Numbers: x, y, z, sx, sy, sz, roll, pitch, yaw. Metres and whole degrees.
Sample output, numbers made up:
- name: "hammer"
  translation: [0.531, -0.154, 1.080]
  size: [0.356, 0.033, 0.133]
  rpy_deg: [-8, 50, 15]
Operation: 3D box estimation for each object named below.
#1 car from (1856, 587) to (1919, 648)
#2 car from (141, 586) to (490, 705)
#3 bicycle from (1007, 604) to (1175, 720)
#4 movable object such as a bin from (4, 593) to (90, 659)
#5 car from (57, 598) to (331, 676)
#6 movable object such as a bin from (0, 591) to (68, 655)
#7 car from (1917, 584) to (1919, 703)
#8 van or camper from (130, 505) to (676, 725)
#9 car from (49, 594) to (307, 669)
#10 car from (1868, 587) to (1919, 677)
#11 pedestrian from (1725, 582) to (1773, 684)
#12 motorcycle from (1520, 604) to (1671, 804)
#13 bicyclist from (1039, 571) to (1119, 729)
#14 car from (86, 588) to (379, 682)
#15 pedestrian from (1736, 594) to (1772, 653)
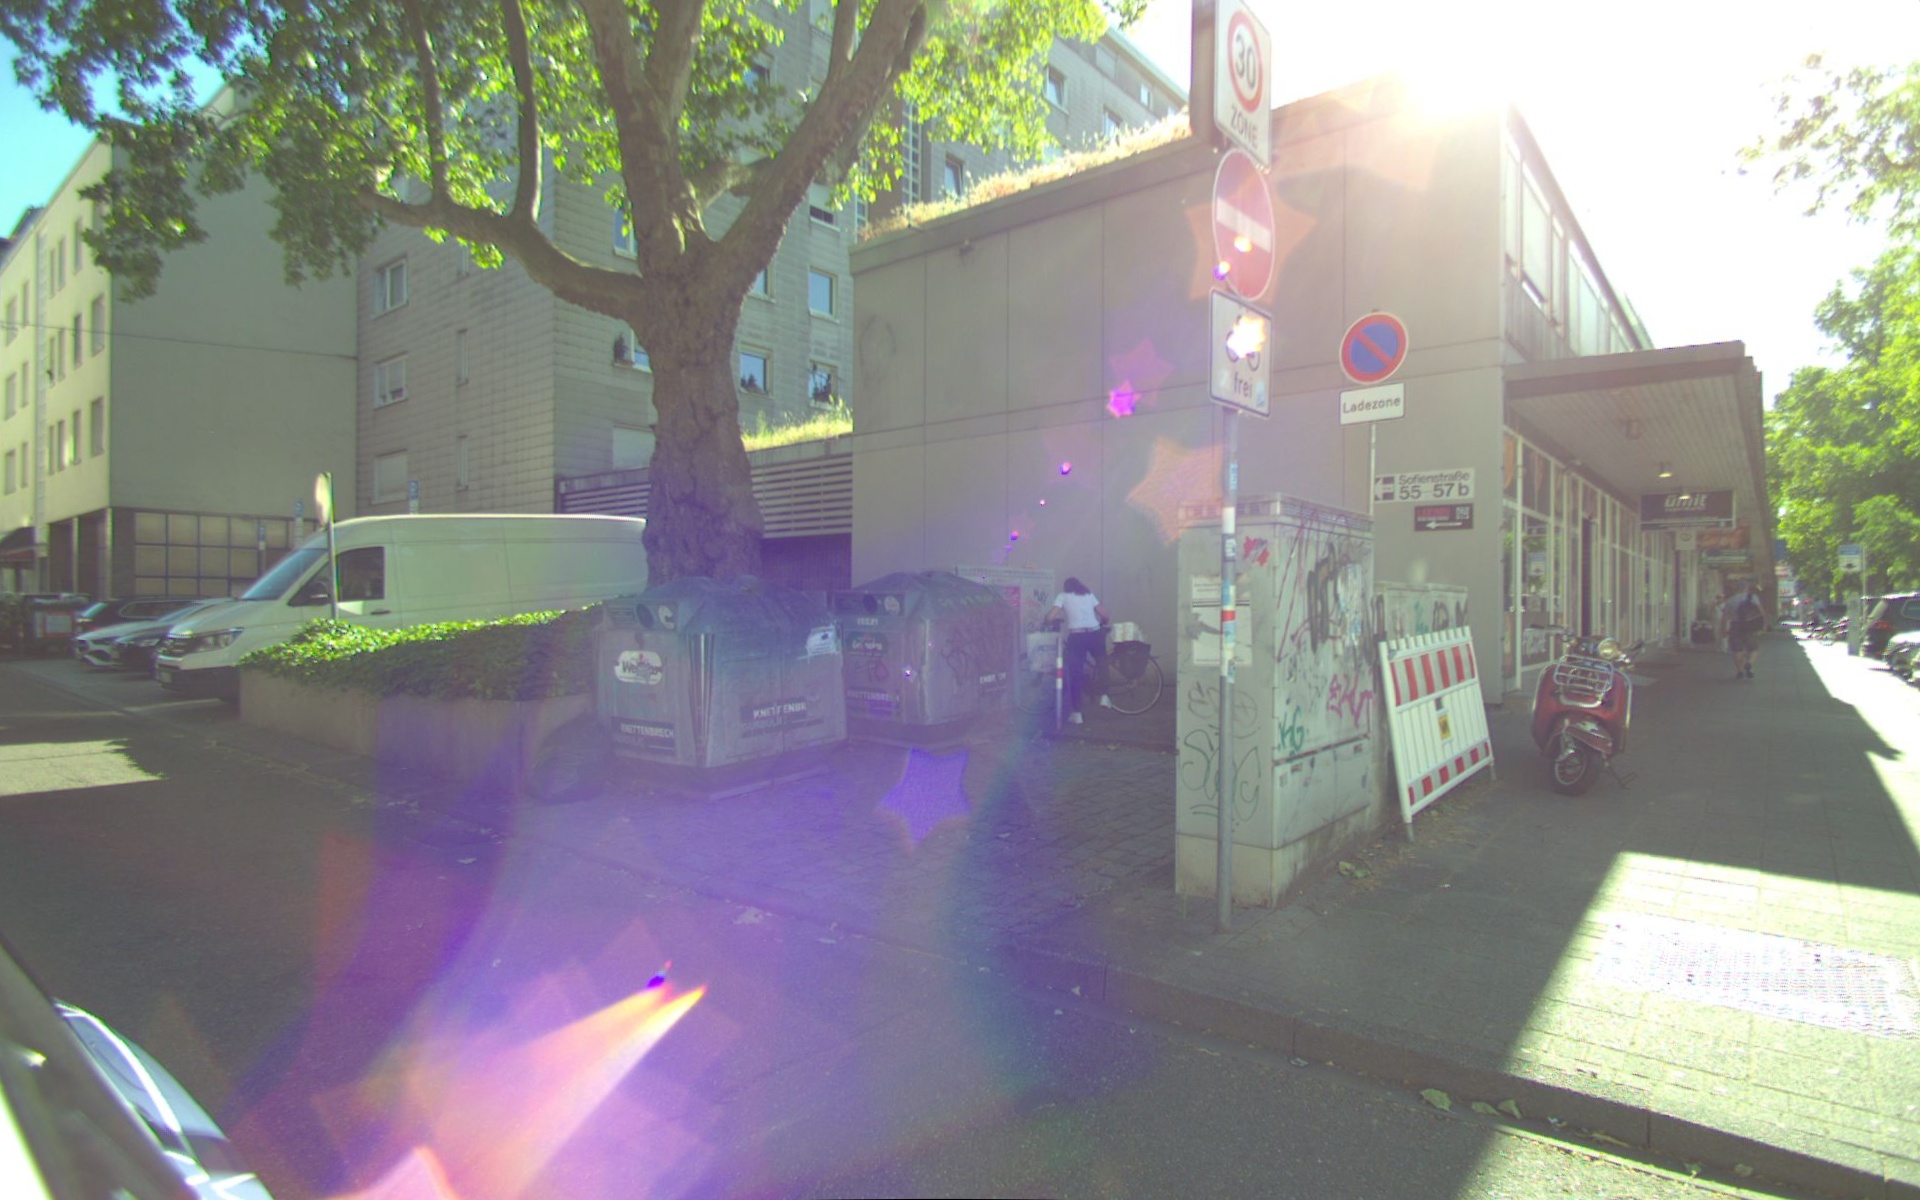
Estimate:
- name: "car"
  translation: [32.799, 0.570, 33.036]
  size: [5.224, 1.996, 1.640]
  rpy_deg: [0, 0, 39]
- name: "car"
  translation: [-10.059, 0.602, 16.110]
  size: [1.697, 1.545, 4.361]
  rpy_deg: [0, 2, 39]
- name: "bicycle"
  translation: [1.397, 0.650, 10.840]
  size: [1.698, 1.162, 0.803]
  rpy_deg: [-1, 1, 9]
- name: "movable object such as a bin"
  translation: [-21.498, 0.594, 23.833]
  size: [1.193, 1.512, 1.312]
  rpy_deg: [0, -1, 38]
- name: "car"
  translation: [-16.036, 0.724, 21.422]
  size: [1.595, 1.474, 4.368]
  rpy_deg: [-1, -1, 34]
- name: "movable object such as a bin"
  translation: [-22.688, 0.541, 24.625]
  size: [1.515, 1.512, 1.207]
  rpy_deg: [0, -1, 38]
- name: "car"
  translation: [13.613, 0.338, 10.784]
  size: [4.739, 2.021, 1.934]
  rpy_deg: [2, 0, 38]
- name: "van or camper"
  translation: [-7.822, 0.014, 15.185]
  size: [1.999, 2.593, 6.836]
  rpy_deg: [-1, 2, 40]
- name: "car"
  translation: [-17.643, 0.669, 23.061]
  size: [1.694, 1.545, 4.368]
  rpy_deg: [-1, -1, 34]
- name: "car"
  translation: [21.247, 0.659, 20.135]
  size: [4.637, 1.818, 1.813]
  rpy_deg: [0, 0, 39]
- name: "pedestrian"
  translation: [13.367, 0.536, 17.147]
  size: [0.566, 1.678, 0.702]
  rpy_deg: [1, 1, 41]
- name: "motorcycle"
  translation: [4.568, 0.651, 7.210]
  size: [0.669, 1.189, 1.896]
  rpy_deg: [0, 1, 40]
- name: "bicyclist"
  translation: [1.251, 0.507, 10.598]
  size: [0.702, 1.596, 0.529]
  rpy_deg: [0, 0, 25]
- name: "car"
  translation: [-14.056, 0.619, 19.818]
  size: [1.694, 1.629, 4.368]
  rpy_deg: [0, 0, 34]
- name: "pedestrian"
  translation: [20.936, 0.606, 26.692]
  size: [0.689, 1.533, 0.525]
  rpy_deg: [1, 1, 42]
